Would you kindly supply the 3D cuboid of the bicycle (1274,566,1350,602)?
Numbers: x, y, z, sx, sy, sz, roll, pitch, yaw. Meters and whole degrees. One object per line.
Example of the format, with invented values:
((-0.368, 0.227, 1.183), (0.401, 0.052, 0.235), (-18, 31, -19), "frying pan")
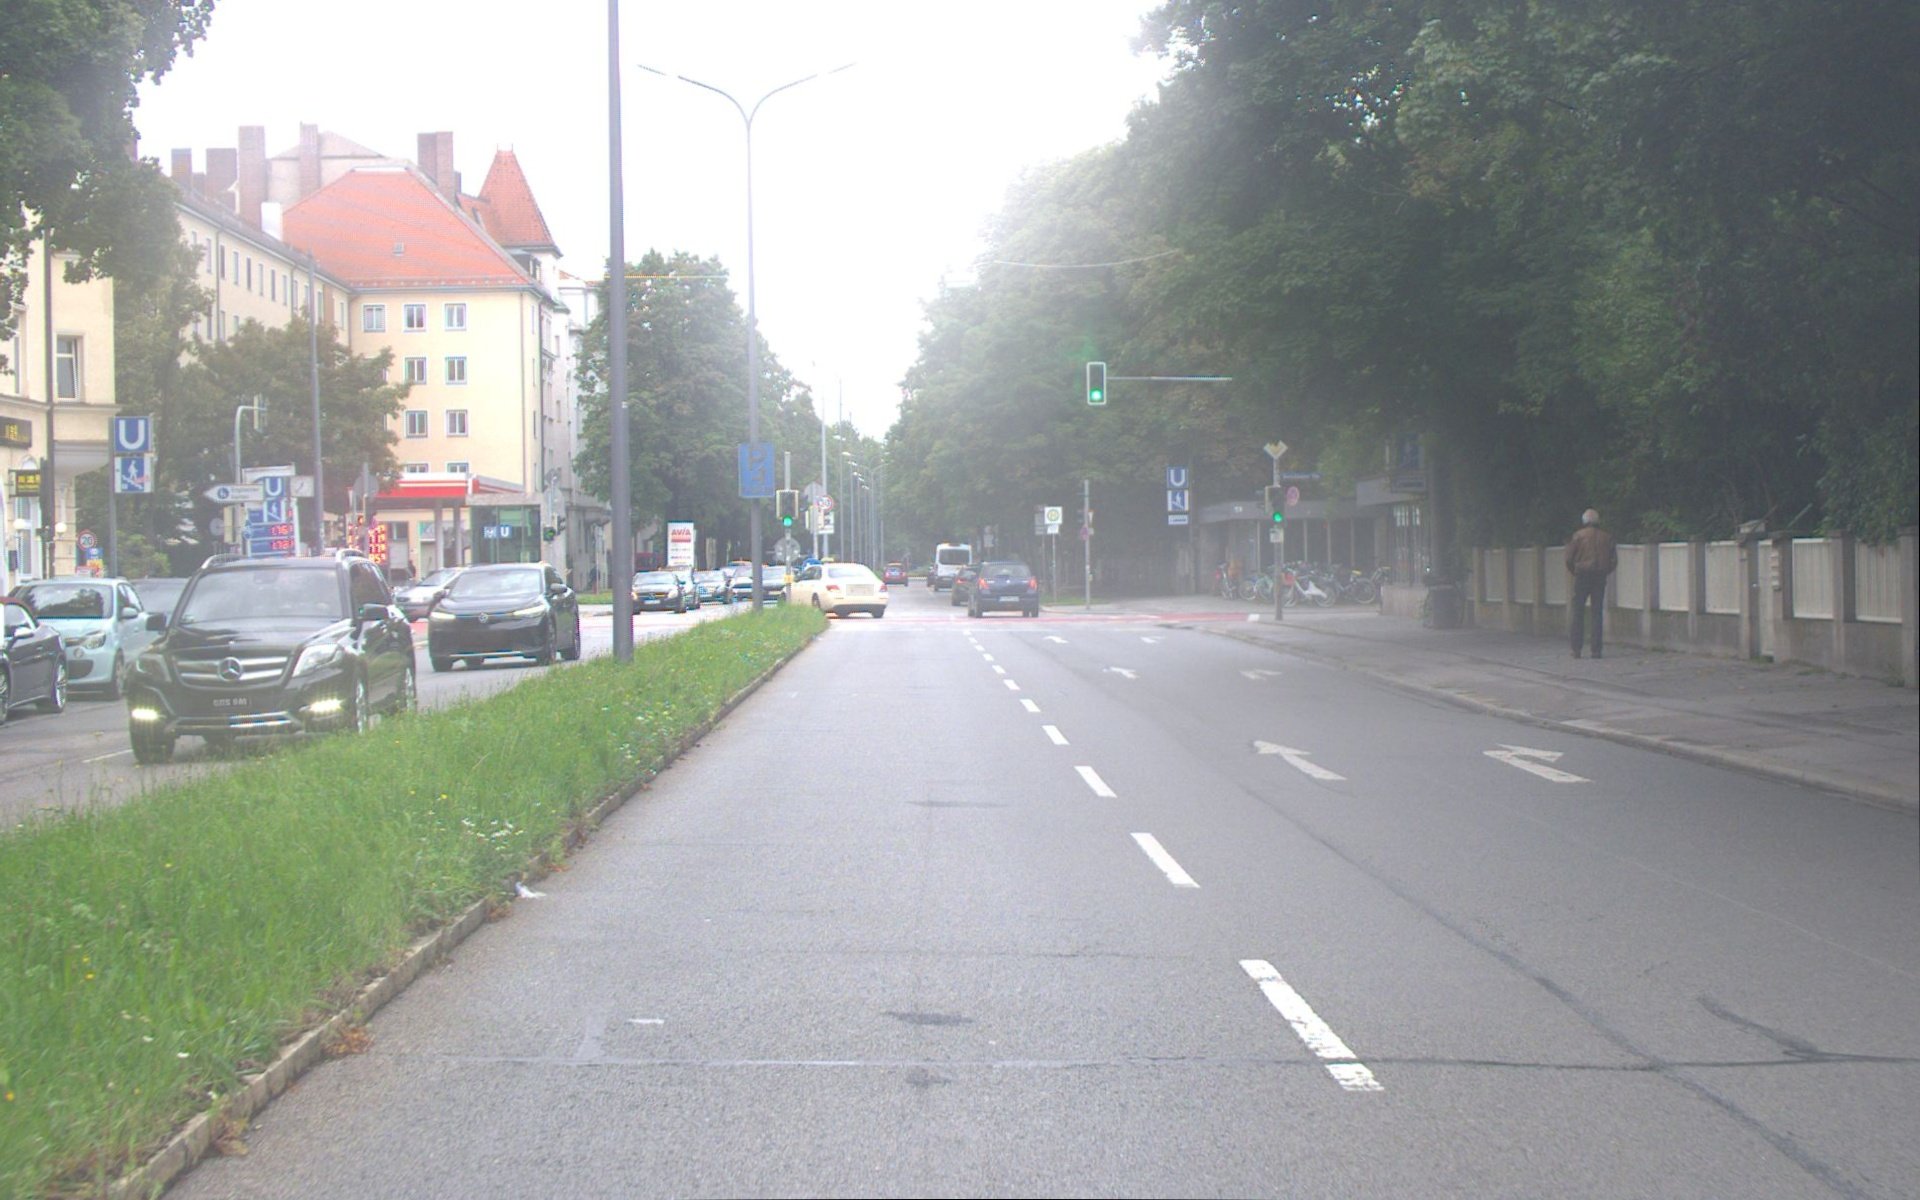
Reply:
((10.086, -0.458, 98.541), (2.143, 1.011, 0.603), (-1, 1, 8), "bicycle")

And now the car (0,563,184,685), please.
((-11.432, 0.280, 44.693), (1.810, 1.502, 3.960), (-1, 1, -1), "car")

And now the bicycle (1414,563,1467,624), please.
((8.726, -0.130, 62.480), (0.622, 1.087, 2.026), (-1, 1, -1), "bicycle")

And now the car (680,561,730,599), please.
((-10.166, -0.821, 137.393), (1.759, 1.455, 4.000), (-1, 1, -1), "car")

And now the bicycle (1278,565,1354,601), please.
((10.276, -0.478, 99.166), (2.143, 1.011, 0.634), (-1, 1, 8), "bicycle")

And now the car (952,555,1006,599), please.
((0.622, -0.805, 117.732), (1.779, 1.469, 3.893), (0, 1, -1), "car")

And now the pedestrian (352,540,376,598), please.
((-17.491, -0.924, 100.870), (0.534, 1.689, 0.577), (-1, 1, 8), "pedestrian")

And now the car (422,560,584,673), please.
((-7.085, 0.218, 53.740), (1.875, 1.579, 4.621), (-3, 1, 0), "car")

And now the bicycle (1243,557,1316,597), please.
((9.559, -0.682, 102.804), (2.143, 1.174, 0.603), (-1, 1, 8), "bicycle")

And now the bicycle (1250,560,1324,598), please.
((9.702, -0.628, 102.067), (2.143, 1.082, 0.603), (-1, 1, 8), "bicycle")

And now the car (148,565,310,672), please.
((-11.354, 0.255, 53.602), (1.649, 1.579, 3.790), (-1, 1, 1), "car")

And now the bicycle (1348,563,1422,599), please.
((12.400, -0.548, 100.274), (2.143, 1.011, 0.634), (-1, 1, 8), "bicycle")

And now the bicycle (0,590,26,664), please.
((-15.049, 0.406, 53.287), (0.548, 1.111, 1.881), (-1, 1, -32), "bicycle")

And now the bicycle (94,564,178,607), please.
((-24.645, -0.439, 102.824), (2.393, 1.247, 0.792), (1, 0, -11), "bicycle")

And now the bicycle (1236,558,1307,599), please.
((9.524, -0.649, 105.106), (2.143, 1.214, 0.603), (-1, 1, 8), "bicycle")

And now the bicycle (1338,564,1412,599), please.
((12.301, -0.558, 101.836), (2.143, 1.011, 0.634), (-1, 1, 8), "bicycle")

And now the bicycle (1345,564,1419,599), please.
((12.394, -0.550, 101.042), (2.143, 1.011, 0.634), (-1, 1, 8), "bicycle")

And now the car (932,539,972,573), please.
((-0.422, -2.310, 181.979), (1.993, 1.750, 4.000), (-1, 1, -1), "car")

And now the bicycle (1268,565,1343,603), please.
((10.052, -0.464, 100.043), (2.143, 1.067, 0.603), (-1, 1, 8), "bicycle")

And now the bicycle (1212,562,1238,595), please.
((8.302, -0.680, 107.616), (0.556, 1.011, 2.016), (-1, 1, -3), "bicycle")

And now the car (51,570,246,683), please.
((-11.504, 0.346, 48.995), (1.810, 1.502, 4.291), (-1, 1, -1), "car")

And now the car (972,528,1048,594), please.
((1.311, -1.037, 91.197), (1.857, 1.678, 4.000), (-1, 1, -1), "car")

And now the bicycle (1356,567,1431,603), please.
((12.559, -0.441, 99.547), (2.143, 1.011, 0.634), (-1, 1, 8), "bicycle")

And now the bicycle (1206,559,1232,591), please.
((8.314, -0.805, 110.349), (0.556, 1.011, 2.016), (-1, 1, -3), "bicycle")

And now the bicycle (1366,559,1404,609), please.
((9.583, -0.361, 77.629), (0.599, 1.117, 1.890), (-1, 0, -1), "bicycle")

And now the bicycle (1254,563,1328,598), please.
((9.753, -0.585, 101.338), (2.143, 1.011, 0.603), (-1, 1, 8), "bicycle")

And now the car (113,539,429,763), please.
((-5.697, 0.368, 28.936), (1.769, 1.673, 4.369), (-2, 1, -1), "car")

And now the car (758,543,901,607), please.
((-3.507, -0.669, 91.625), (1.779, 1.641, 4.781), (-1, 1, -30), "car")

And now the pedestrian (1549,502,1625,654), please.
((8.158, -0.289, 44.732), (0.777, 1.935, 0.802), (-2, 1, 0), "pedestrian")

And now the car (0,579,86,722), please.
((-11.222, 0.541, 38.321), (1.810, 1.502, 4.646), (-1, 1, -1), "car")
